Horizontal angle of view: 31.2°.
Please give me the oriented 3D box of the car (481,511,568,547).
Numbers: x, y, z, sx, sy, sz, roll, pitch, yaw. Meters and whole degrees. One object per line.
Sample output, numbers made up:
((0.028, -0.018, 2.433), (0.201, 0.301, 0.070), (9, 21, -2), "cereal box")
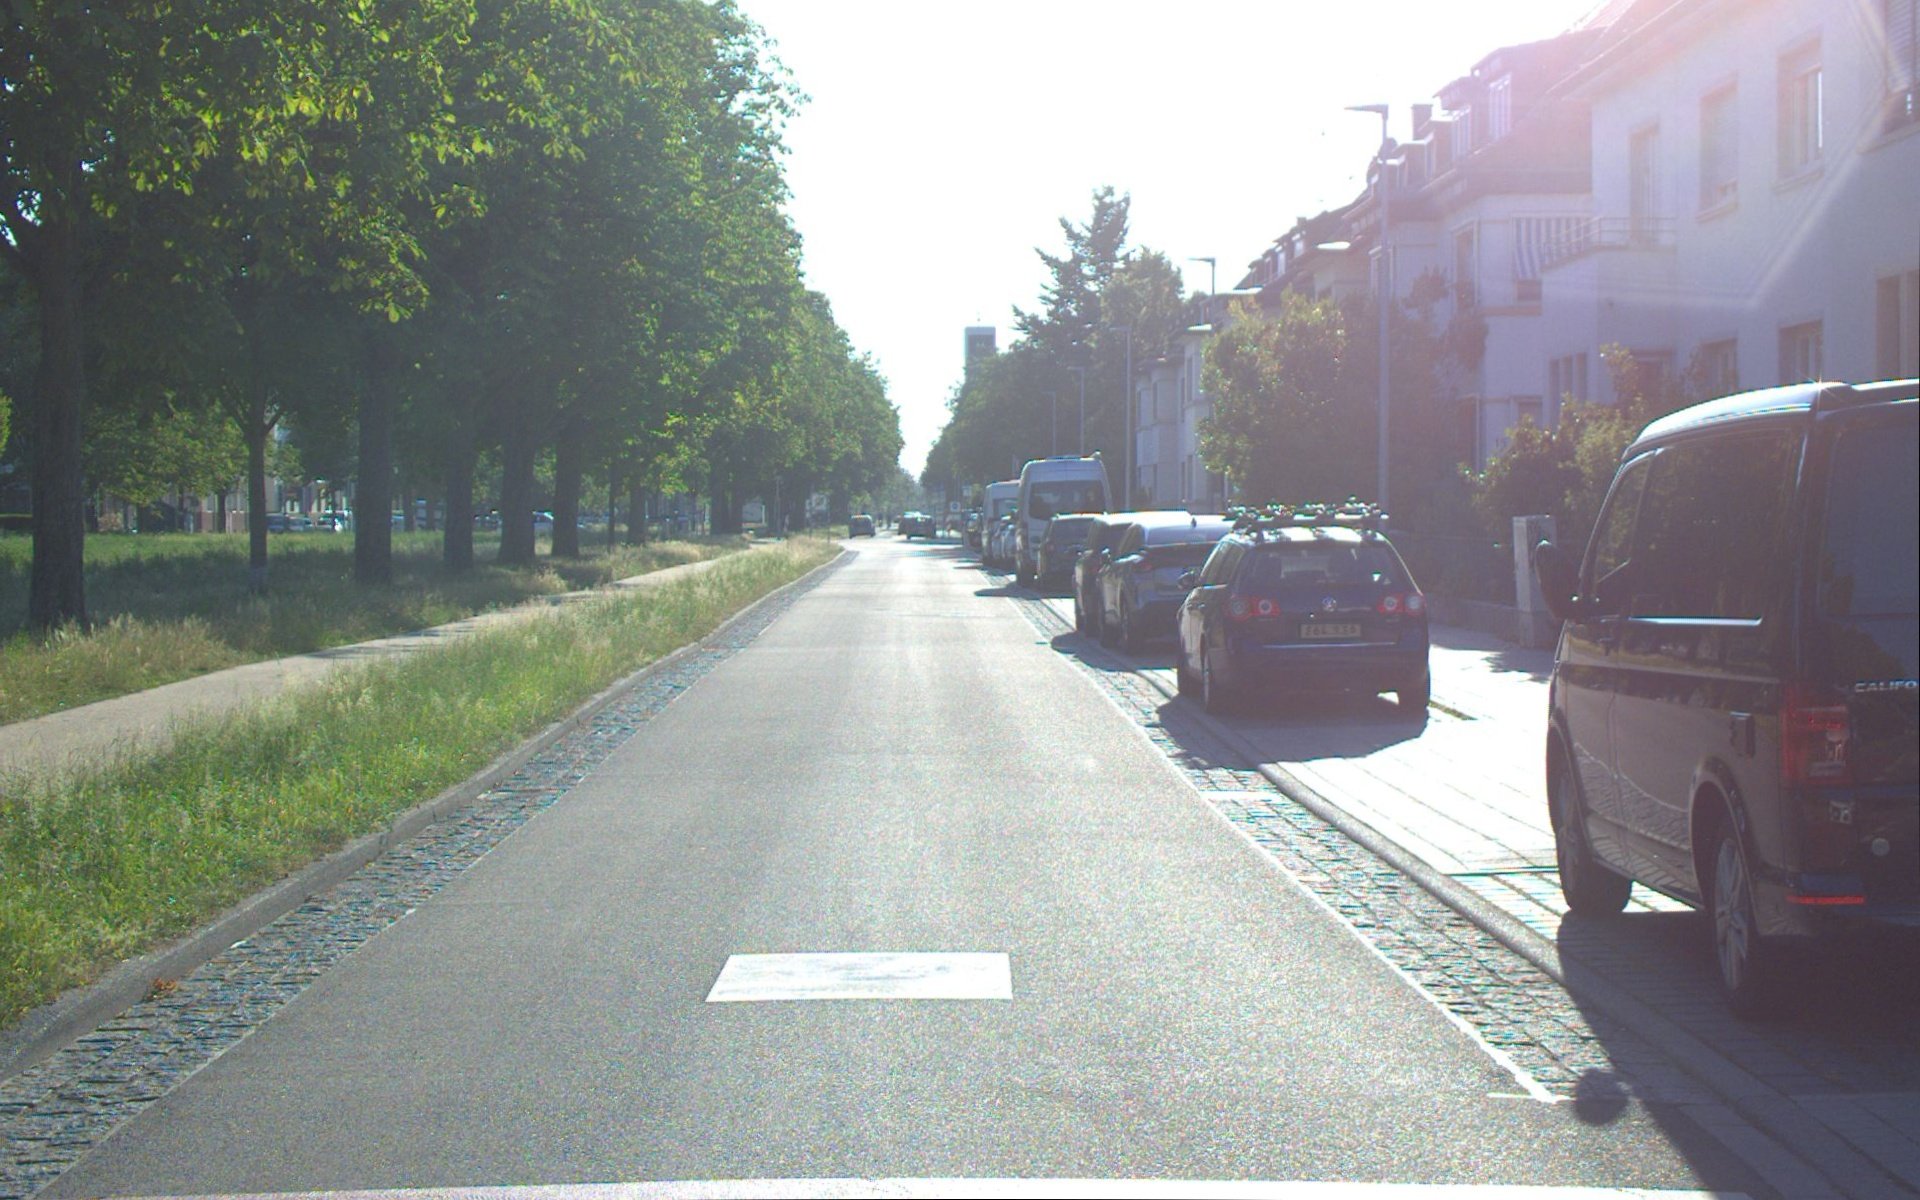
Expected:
((-22.379, -3.659, 176.422), (4.345, 1.758, 2.001), (1, 1, -9), "car")

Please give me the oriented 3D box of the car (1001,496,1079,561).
((2.121, -1.932, 92.120), (1.837, 1.630, 4.132), (-1, 2, -2), "car")

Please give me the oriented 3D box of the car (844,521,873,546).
((-6.741, -4.438, 229.190), (1.863, 1.591, 3.870), (1, 1, -1), "car")

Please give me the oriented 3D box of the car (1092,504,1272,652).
((2.530, -0.301, 40.038), (1.718, 1.568, 4.211), (-2, 2, -1), "car")

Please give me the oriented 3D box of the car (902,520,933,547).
((-2.594, -4.056, 209.678), (1.863, 1.591, 3.894), (0, 2, -1), "car")

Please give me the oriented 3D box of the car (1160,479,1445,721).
((2.734, -0.079, 28.358), (1.794, 1.765, 4.473), (-2, 2, -1), "car")

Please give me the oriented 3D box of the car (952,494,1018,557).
((0.837, -2.586, 118.956), (2.126, 2.060, 5.189), (-1, 2, -1), "car")

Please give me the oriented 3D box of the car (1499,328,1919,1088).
((3.243, 0.190, 12.054), (1.906, 2.124, 4.815), (-2, 2, 0), "car")

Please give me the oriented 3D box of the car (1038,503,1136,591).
((2.440, -1.057, 66.877), (1.663, 1.587, 4.086), (-2, 2, 0), "car")

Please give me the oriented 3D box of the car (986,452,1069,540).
((2.005, -3.147, 103.656), (2.126, 2.524, 5.189), (-1, 2, -3), "car")

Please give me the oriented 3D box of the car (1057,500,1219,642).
((2.315, -0.435, 45.802), (1.832, 1.679, 4.416), (2, 2, -1), "car")

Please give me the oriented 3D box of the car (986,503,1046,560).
((1.581, -1.948, 97.519), (1.650, 1.525, 3.851), (-1, 2, 1), "car")

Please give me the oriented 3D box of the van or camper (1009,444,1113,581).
((2.116, -1.859, 73.365), (1.943, 2.768, 5.940), (1, 1, 0), "van or camper")

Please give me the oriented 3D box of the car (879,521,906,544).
((-4.726, -4.716, 239.934), (1.863, 1.591, 3.870), (1, 1, -1), "car")

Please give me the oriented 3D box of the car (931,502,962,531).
((-0.731, -4.651, 191.240), (1.650, 1.525, 3.851), (-1, 2, 1), "car")
